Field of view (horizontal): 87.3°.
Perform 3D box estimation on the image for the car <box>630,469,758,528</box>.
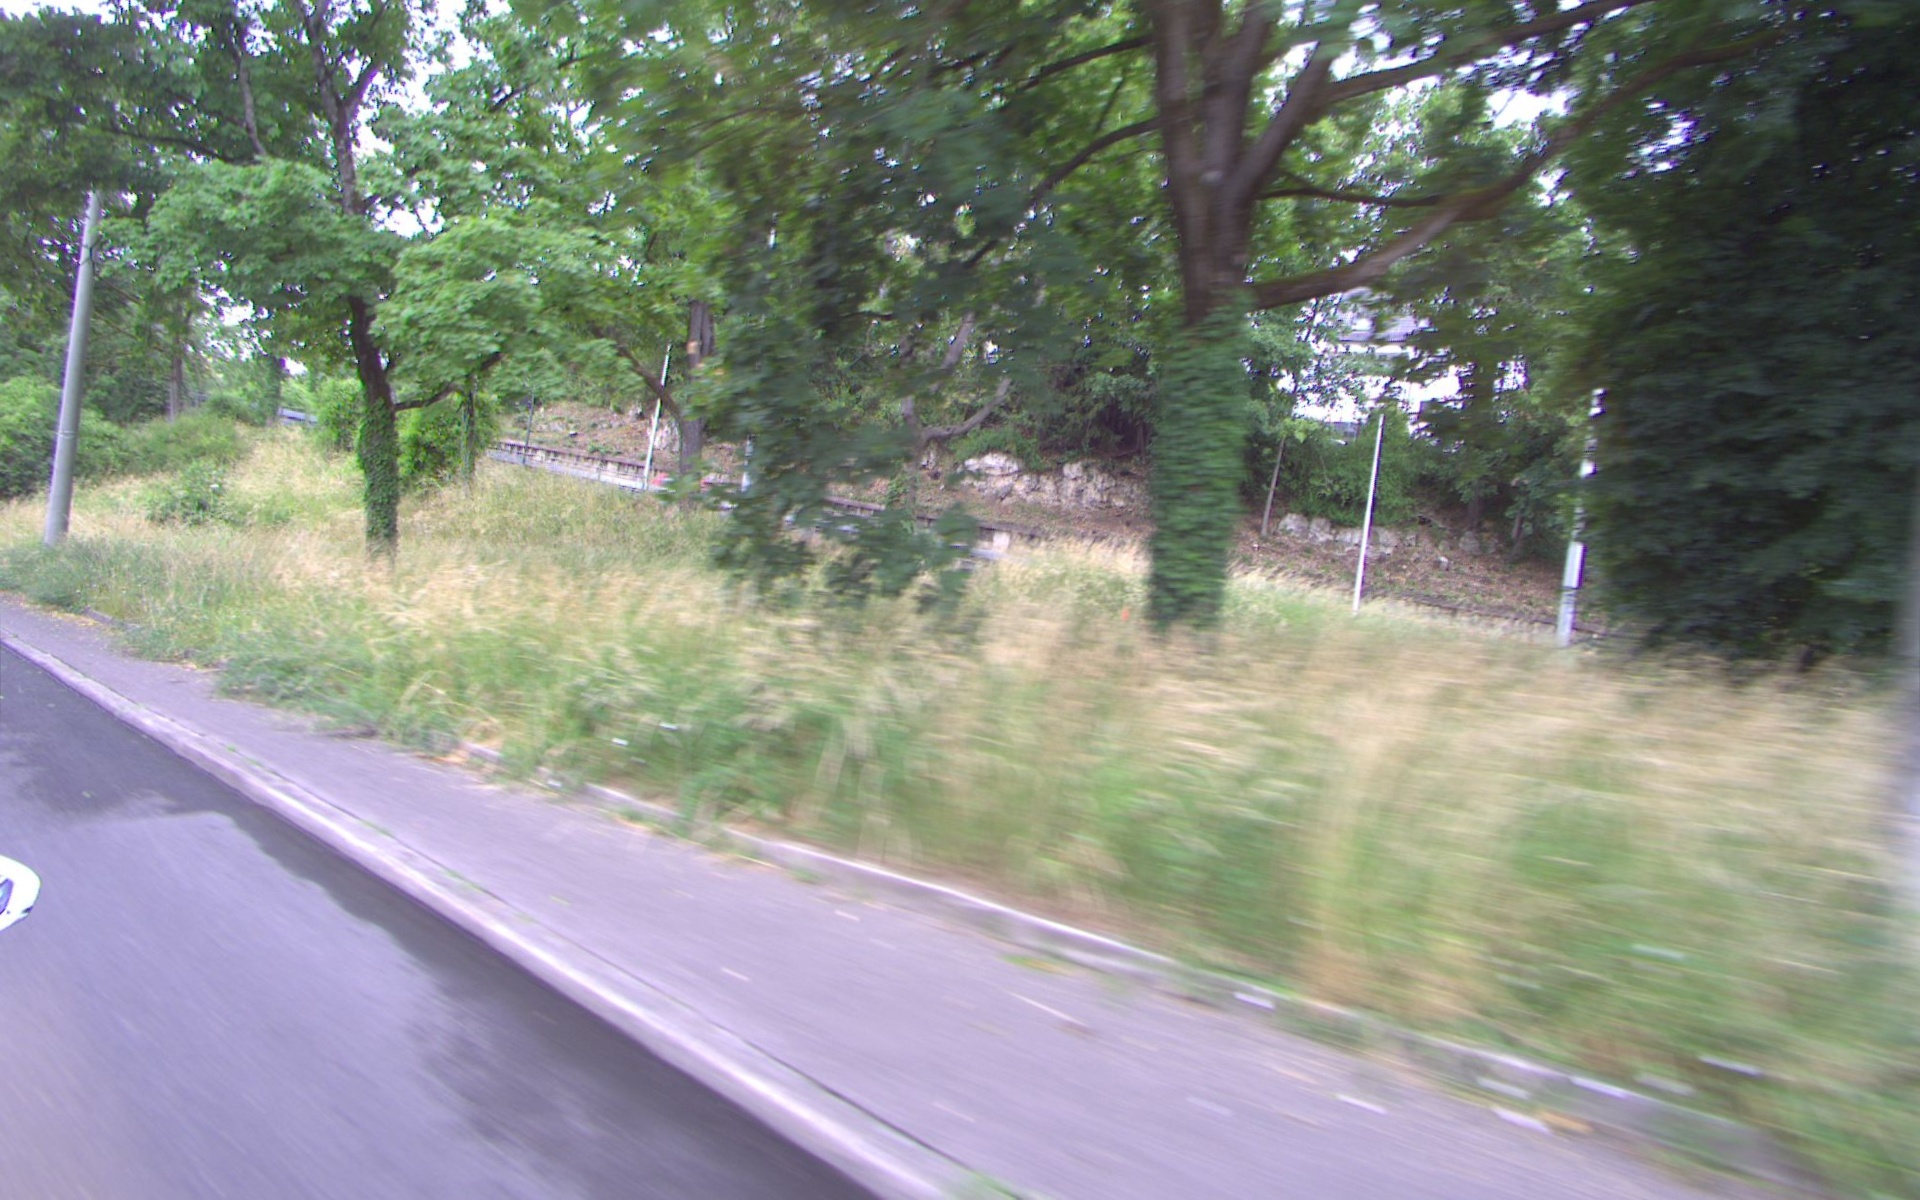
[{"bbox_3d":[-9.484,-3.611,35.924,3.924,1.528,1.802,7,-1,17],"label":"car"}]
